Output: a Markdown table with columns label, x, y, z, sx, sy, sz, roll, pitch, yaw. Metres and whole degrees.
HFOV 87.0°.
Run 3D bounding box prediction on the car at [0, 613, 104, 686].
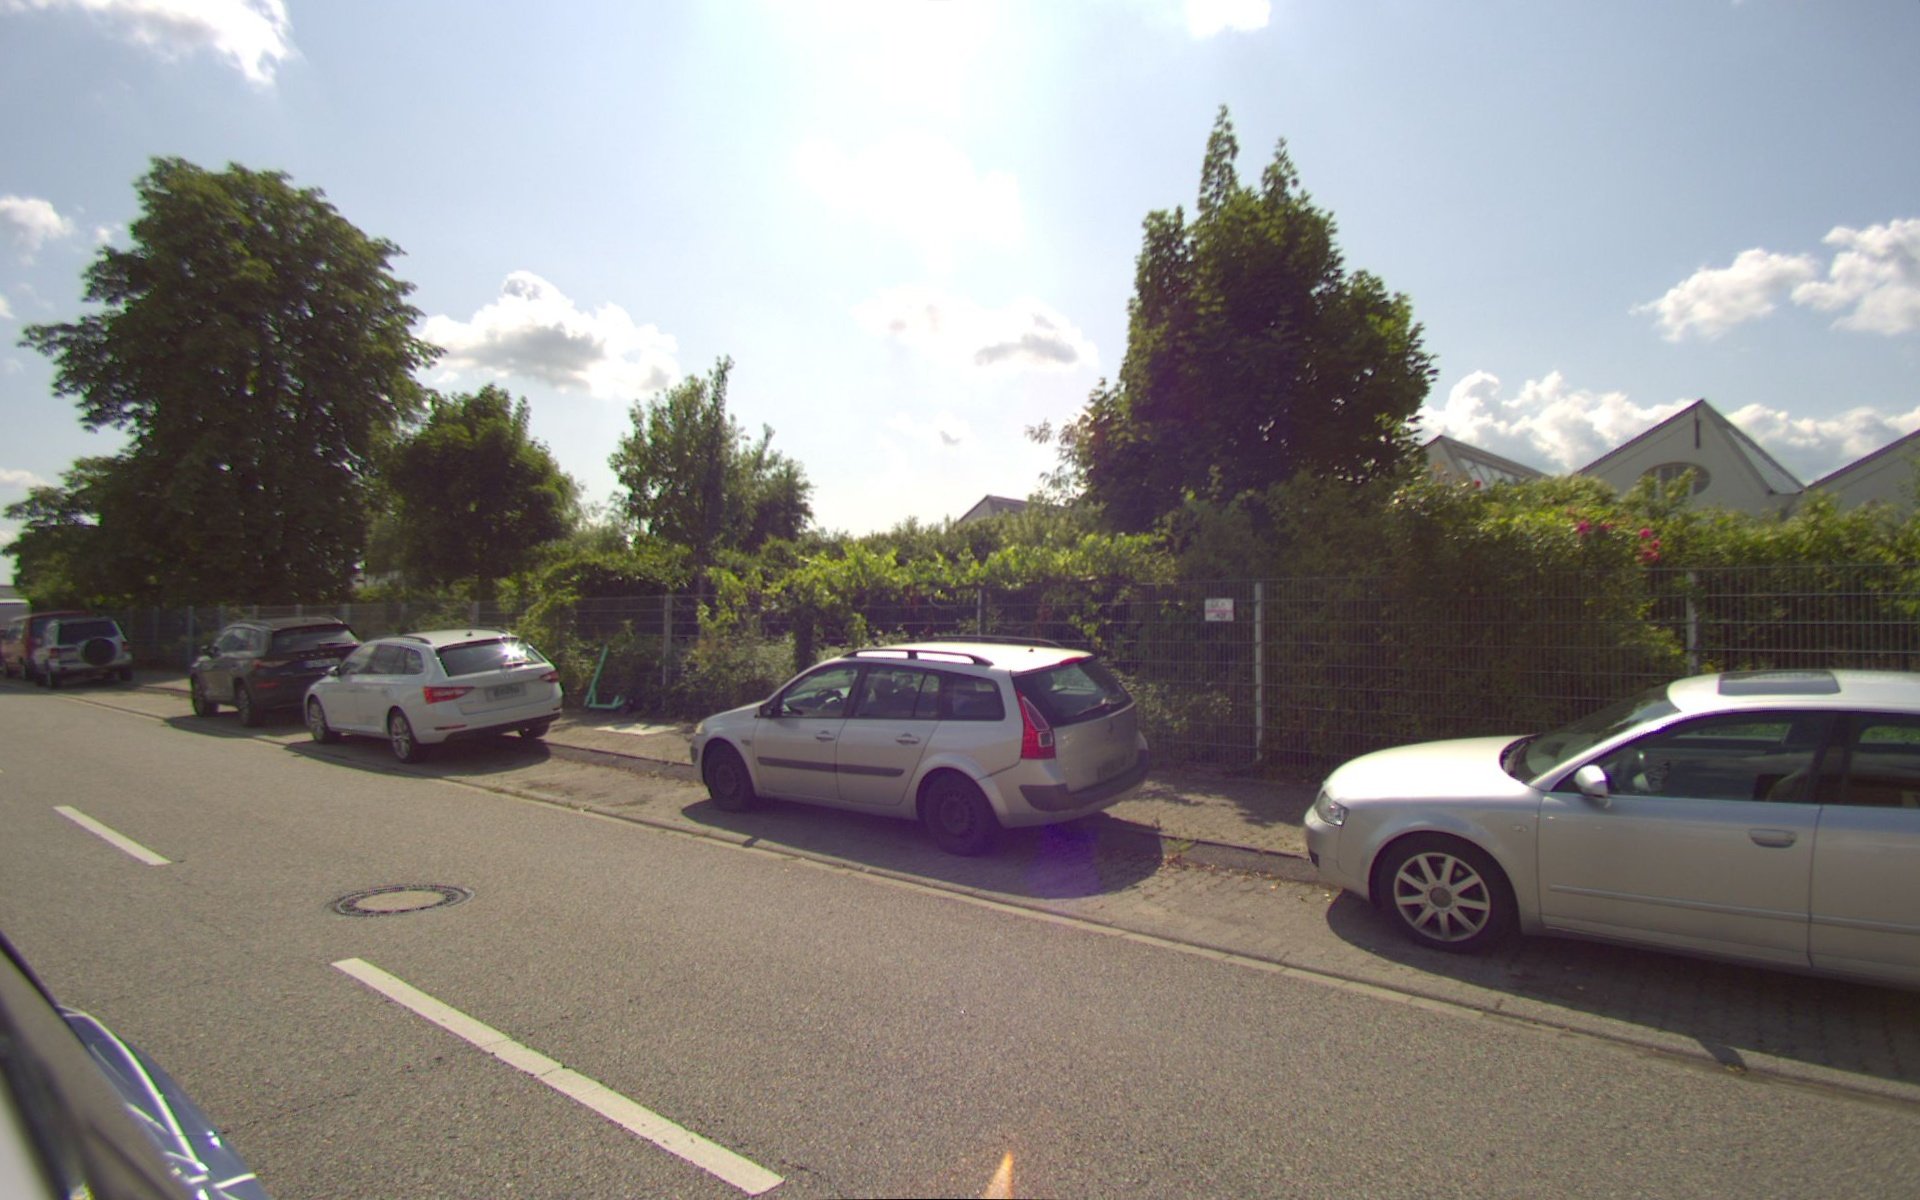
| label | x | y | z | sx | sy | sz | roll | pitch | yaw |
| --- | --- | --- | --- | --- | --- | --- | --- | --- | --- |
| car | -28.161 | 1.444 | 31.037 | 4.952 | 1.969 | 1.880 | -1 | 3 | 39 |

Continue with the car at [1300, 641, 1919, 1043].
| label | x | y | z | sx | sy | sz | roll | pitch | yaw |
| --- | --- | --- | --- | --- | --- | --- | --- | --- | --- |
| car | 4.244 | 1.019 | 4.865 | 4.624 | 1.488 | 1.708 | -1 | 1 | 38 |

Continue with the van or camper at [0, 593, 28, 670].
| label | x | y | z | sx | sy | sz | roll | pitch | yaw |
| --- | --- | --- | --- | --- | --- | --- | --- | --- | --- |
| van or camper | -38.461 | 1.236 | 39.190 | 6.822 | 2.824 | 2.242 | -1 | 1 | 37 |

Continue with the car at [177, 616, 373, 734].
| label | x | y | z | sx | sy | sz | roll | pitch | yaw |
| --- | --- | --- | --- | --- | --- | --- | --- | --- | --- |
| car | -11.842 | 1.192 | 17.374 | 4.632 | 1.758 | 1.594 | -2 | -1 | 40 |

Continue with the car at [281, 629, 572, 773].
| label | x | y | z | sx | sy | sz | roll | pitch | yaw |
| --- | --- | --- | --- | --- | --- | --- | --- | --- | --- |
| car | -7.220 | 1.206 | 13.477 | 4.782 | 1.607 | 1.683 | -1 | -3 | 39 |

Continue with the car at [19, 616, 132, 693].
| label | x | y | z | sx | sy | sz | roll | pitch | yaw |
| --- | --- | --- | --- | --- | --- | --- | --- | --- | --- |
| car | -23.414 | 1.394 | 26.760 | 3.824 | 1.815 | 1.682 | -2 | 1 | 41 |

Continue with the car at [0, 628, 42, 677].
| label | x | y | z | sx | sy | sz | roll | pitch | yaw |
| --- | --- | --- | --- | --- | --- | --- | --- | --- | --- |
| car | -32.878 | 1.765 | 34.556 | 4.263 | 1.544 | 1.609 | -1 | 1 | 39 |

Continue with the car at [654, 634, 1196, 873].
| label | x | y | z | sx | sy | sz | roll | pitch | yaw |
| --- | --- | --- | --- | --- | --- | --- | --- | --- | --- |
| car | -0.499 | 1.081 | 8.750 | 4.653 | 1.539 | 1.777 | -1 | -3 | 39 |
